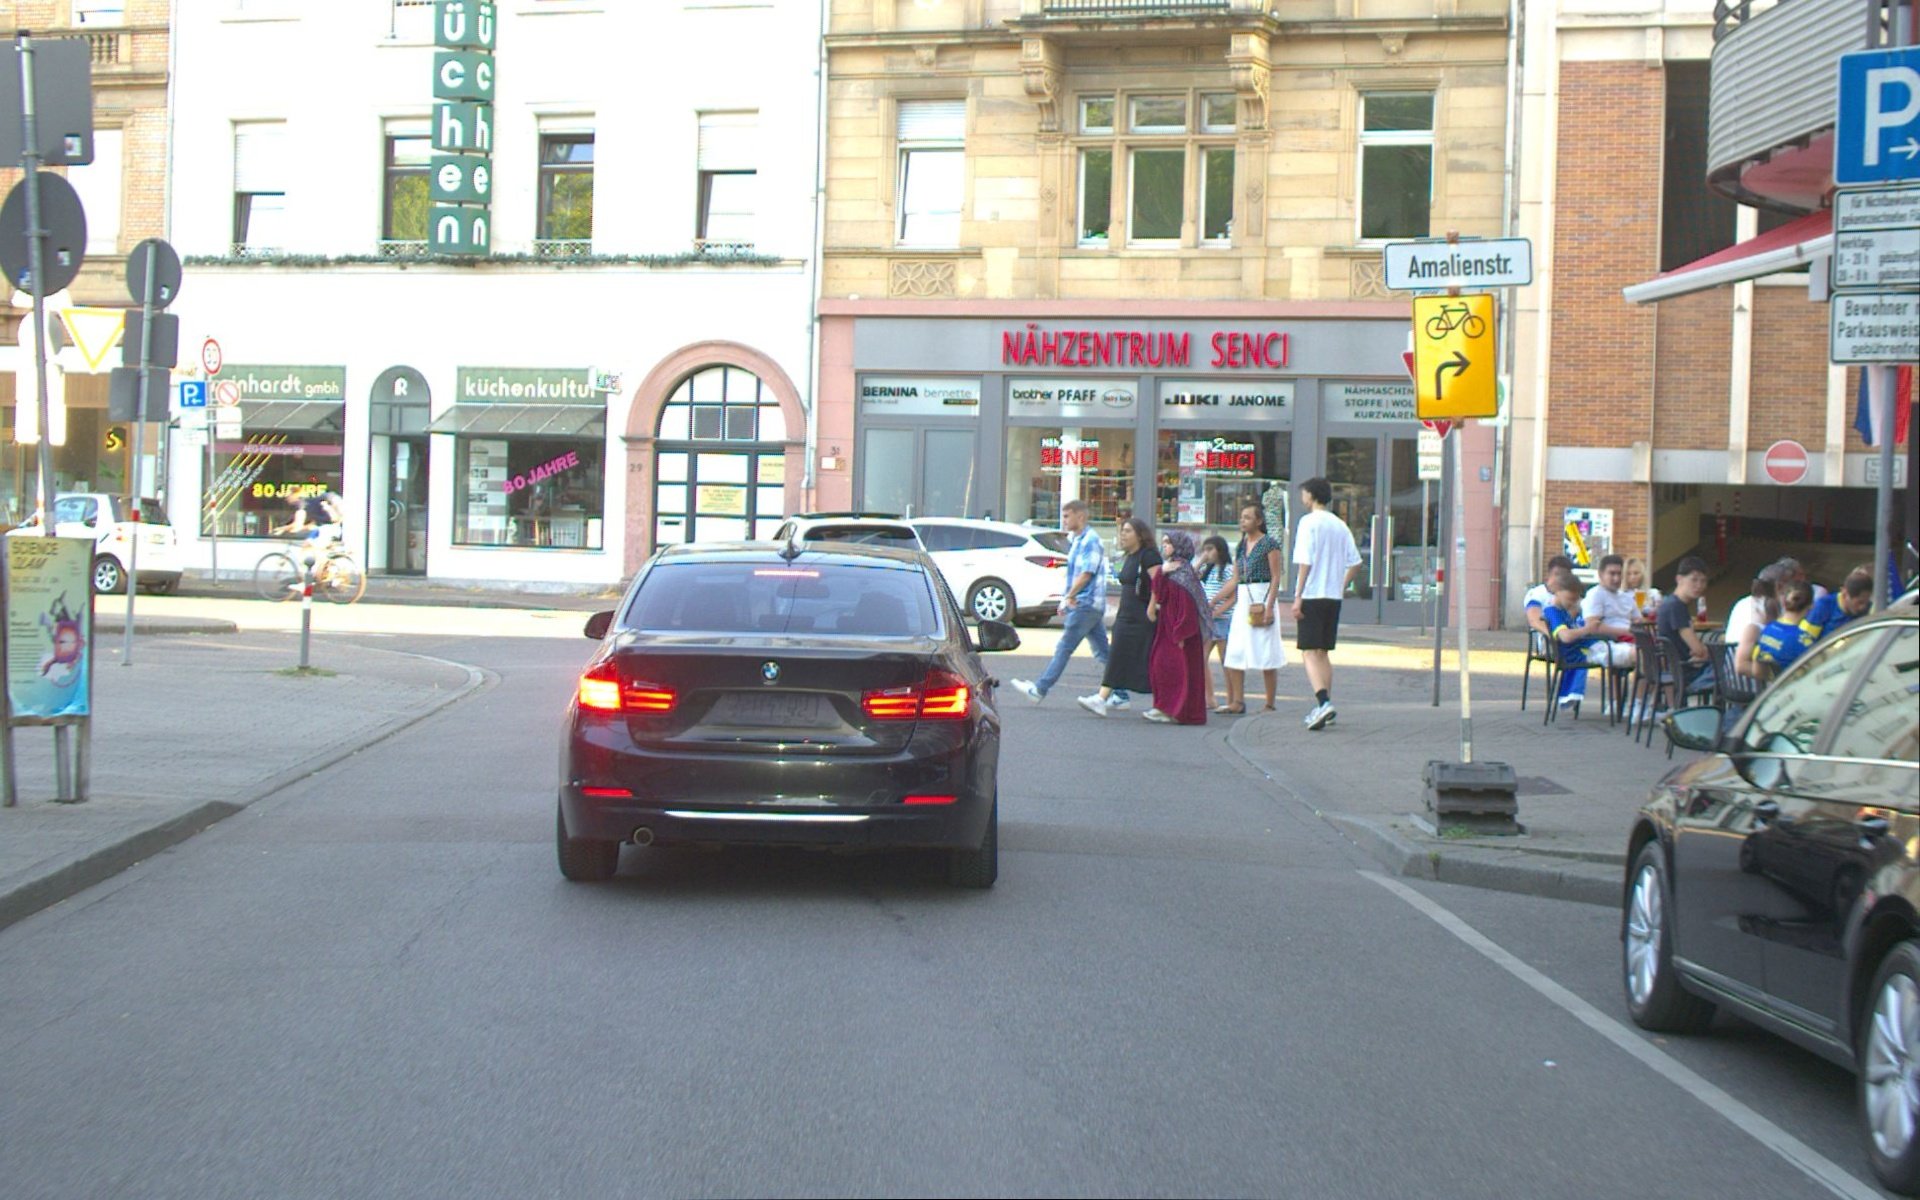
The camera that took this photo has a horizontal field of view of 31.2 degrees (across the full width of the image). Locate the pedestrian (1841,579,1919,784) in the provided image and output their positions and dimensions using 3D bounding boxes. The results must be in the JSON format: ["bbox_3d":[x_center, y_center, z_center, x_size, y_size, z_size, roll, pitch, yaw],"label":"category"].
[{"bbox_3d":[5.653,0.481,20.665,0.417,1.197,0.537,-3,2,-44],"label":"pedestrian"}]

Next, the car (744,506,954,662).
[{"bbox_3d":[-1.080,-0.213,35.323,1.877,1.468,4.000,1,2,2],"label":"car"}]

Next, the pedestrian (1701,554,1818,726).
[{"bbox_3d":[6.099,0.291,26.207,0.618,1.274,0.699,2,2,36],"label":"pedestrian"}]

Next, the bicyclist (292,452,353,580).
[{"bbox_3d":[-8.808,-1.160,47.535,0.618,1.750,0.525,2,1,12],"label":"bicyclist"}]

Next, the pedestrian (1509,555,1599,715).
[{"bbox_3d":[4.774,0.273,27.668,0.617,1.250,0.735,1,2,4],"label":"pedestrian"}]

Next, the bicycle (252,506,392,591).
[{"bbox_3d":[-8.817,-0.713,47.539,1.795,1.104,0.538,2,1,12],"label":"bicycle"}]

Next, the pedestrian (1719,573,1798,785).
[{"bbox_3d":[4.799,0.471,20.655,0.343,1.252,0.359,-1,2,32],"label":"pedestrian"}]

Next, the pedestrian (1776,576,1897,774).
[{"bbox_3d":[5.443,0.458,21.347,0.417,1.197,0.569,-3,2,-43],"label":"pedestrian"}]

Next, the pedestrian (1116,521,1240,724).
[{"bbox_3d":[1.667,0.165,26.400,0.735,1.508,0.650,3,1,-11],"label":"pedestrian"}]

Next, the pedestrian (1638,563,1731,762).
[{"bbox_3d":[4.819,0.409,22.878,0.491,1.298,0.418,-1,1,-2],"label":"pedestrian"}]

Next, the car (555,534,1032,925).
[{"bbox_3d":[-0.693,0.449,15.478,1.765,1.370,4.791,2,2,-1],"label":"car"}]

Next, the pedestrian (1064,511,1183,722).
[{"bbox_3d":[1.281,0.123,27.005,0.724,1.603,0.650,3,1,-11],"label":"pedestrian"}]

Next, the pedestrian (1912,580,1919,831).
[{"bbox_3d":[5.240,0.542,17.470,0.687,1.282,0.608,0,1,8],"label":"pedestrian"}]

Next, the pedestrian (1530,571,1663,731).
[{"bbox_3d":[4.720,0.372,25.526,0.890,1.146,0.619,1,2,6],"label":"pedestrian"}]

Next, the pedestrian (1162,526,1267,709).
[{"bbox_3d":[2.081,0.135,28.212,0.815,1.469,0.606,1,1,2],"label":"pedestrian"}]

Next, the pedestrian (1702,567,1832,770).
[{"bbox_3d":[5.203,0.432,22.167,0.626,1.272,0.511,-2,2,-39],"label":"pedestrian"}]

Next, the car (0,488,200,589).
[{"bbox_3d":[-14.003,-0.962,53.282,3.991,1.505,1.798,1,1,21],"label":"car"}]

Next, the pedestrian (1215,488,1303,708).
[{"bbox_3d":[2.404,-0.027,27.675,0.667,1.740,0.606,1,1,4],"label":"pedestrian"}]

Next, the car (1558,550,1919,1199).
[{"bbox_3d":[3.076,0.703,9.607,1.765,1.497,4.791,4,2,-2],"label":"car"}]

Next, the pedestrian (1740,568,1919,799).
[{"bbox_3d":[4.887,0.461,19.329,0.859,1.252,0.491,-1,1,-2],"label":"pedestrian"}]

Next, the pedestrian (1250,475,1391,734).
[{"bbox_3d":[2.669,0.027,25.483,0.700,1.871,0.676,3,2,44],"label":"pedestrian"}]

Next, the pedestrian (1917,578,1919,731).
[{"bbox_3d":[6.034,0.481,19.850,0.779,1.219,0.714,-1,1,-2],"label":"pedestrian"}]

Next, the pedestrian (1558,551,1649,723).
[{"bbox_3d":[4.934,0.277,26.379,0.617,1.279,0.659,1,2,7],"label":"pedestrian"}]

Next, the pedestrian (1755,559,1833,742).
[{"bbox_3d":[5.937,0.353,24.486,0.490,1.272,0.521,1,2,11],"label":"pedestrian"}]

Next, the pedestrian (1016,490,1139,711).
[{"bbox_3d":[0.956,-0.003,27.883,0.895,1.719,0.607,3,3,5],"label":"pedestrian"}]

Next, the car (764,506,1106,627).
[{"bbox_3d":[-0.343,-0.470,47.739,4.356,1.557,1.866,1,1,21],"label":"car"}]
